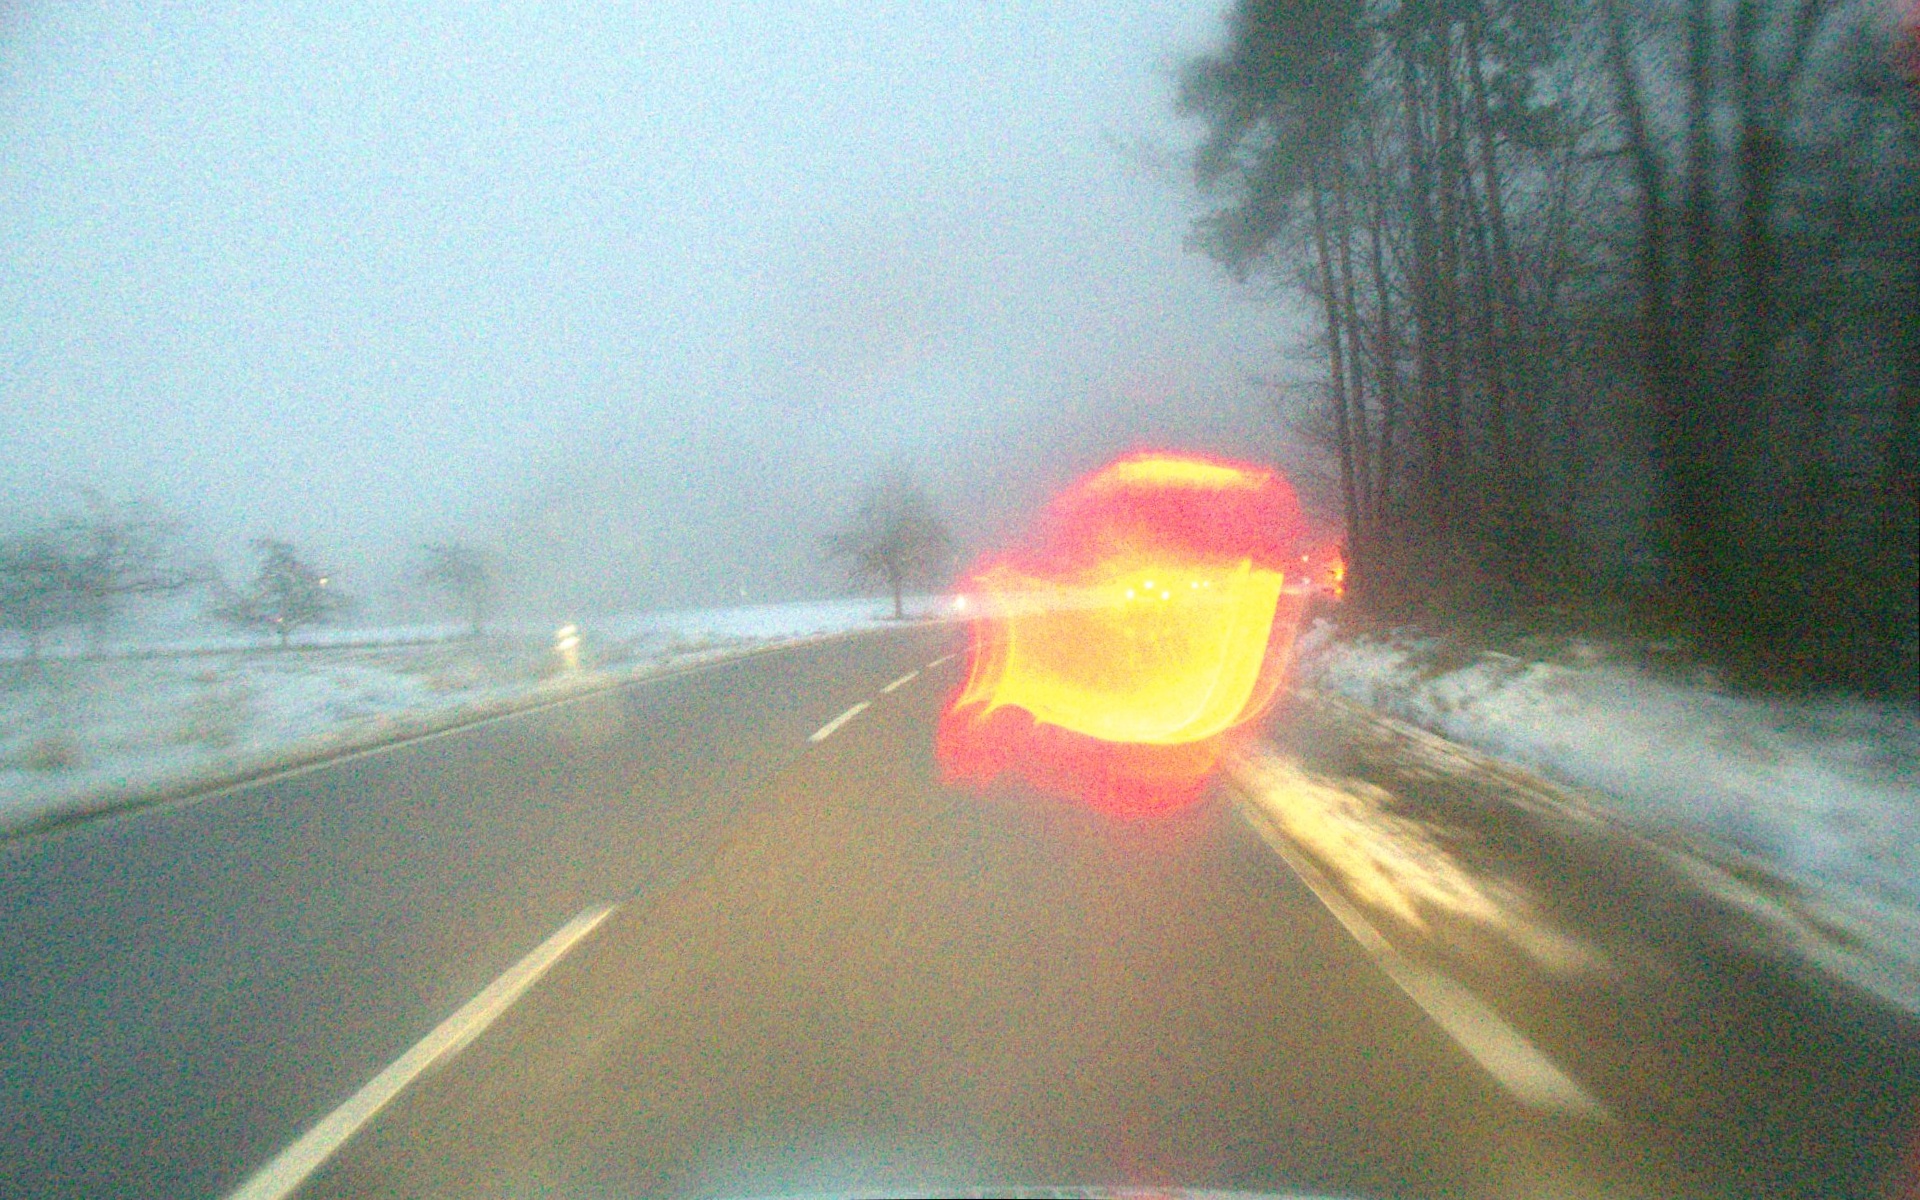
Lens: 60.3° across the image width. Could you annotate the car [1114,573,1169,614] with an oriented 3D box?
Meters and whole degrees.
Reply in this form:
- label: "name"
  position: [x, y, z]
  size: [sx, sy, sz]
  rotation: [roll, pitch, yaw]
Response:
- label: "car"
  position: [6.637, -0.263, 60.329]
  size: [1.881, 1.299, 4.004]
  rotation: [-1, 2, 8]
